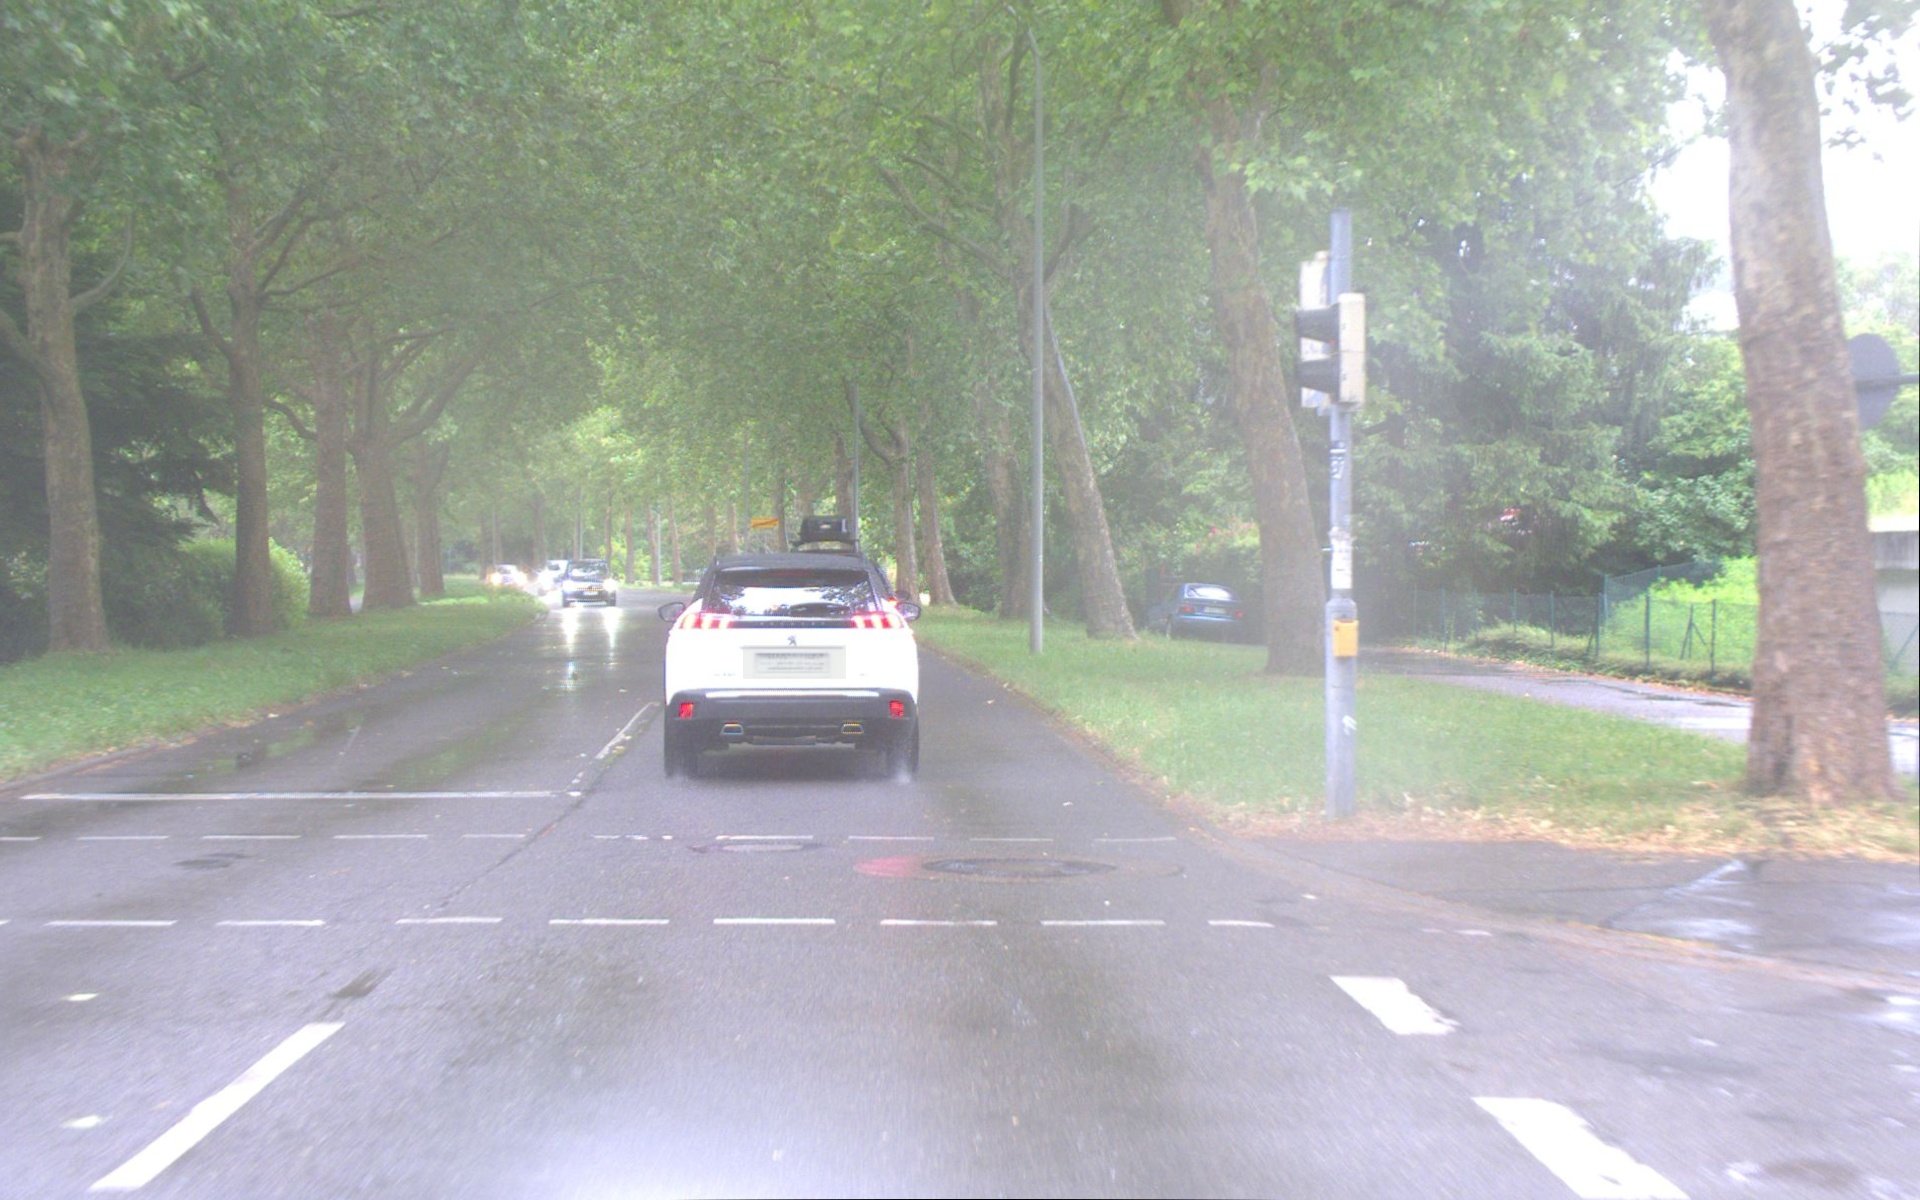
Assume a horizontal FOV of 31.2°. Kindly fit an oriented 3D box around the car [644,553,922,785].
[{"bbox_3d":[-1.357,0.438,24.884,1.780,1.531,4.058,0,1,-6],"label":"car"}]

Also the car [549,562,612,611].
[{"bbox_3d":[-13.062,-0.463,118.473,1.873,1.671,3.708,0,0,-2],"label":"car"}]

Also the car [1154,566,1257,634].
[{"bbox_3d":[5.554,-0.015,78.188,1.905,1.505,3.932,0,0,-2],"label":"car"}]

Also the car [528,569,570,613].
[{"bbox_3d":[-18.946,-0.436,158.591,1.741,2.007,3.665,0,0,-3],"label":"car"}]
